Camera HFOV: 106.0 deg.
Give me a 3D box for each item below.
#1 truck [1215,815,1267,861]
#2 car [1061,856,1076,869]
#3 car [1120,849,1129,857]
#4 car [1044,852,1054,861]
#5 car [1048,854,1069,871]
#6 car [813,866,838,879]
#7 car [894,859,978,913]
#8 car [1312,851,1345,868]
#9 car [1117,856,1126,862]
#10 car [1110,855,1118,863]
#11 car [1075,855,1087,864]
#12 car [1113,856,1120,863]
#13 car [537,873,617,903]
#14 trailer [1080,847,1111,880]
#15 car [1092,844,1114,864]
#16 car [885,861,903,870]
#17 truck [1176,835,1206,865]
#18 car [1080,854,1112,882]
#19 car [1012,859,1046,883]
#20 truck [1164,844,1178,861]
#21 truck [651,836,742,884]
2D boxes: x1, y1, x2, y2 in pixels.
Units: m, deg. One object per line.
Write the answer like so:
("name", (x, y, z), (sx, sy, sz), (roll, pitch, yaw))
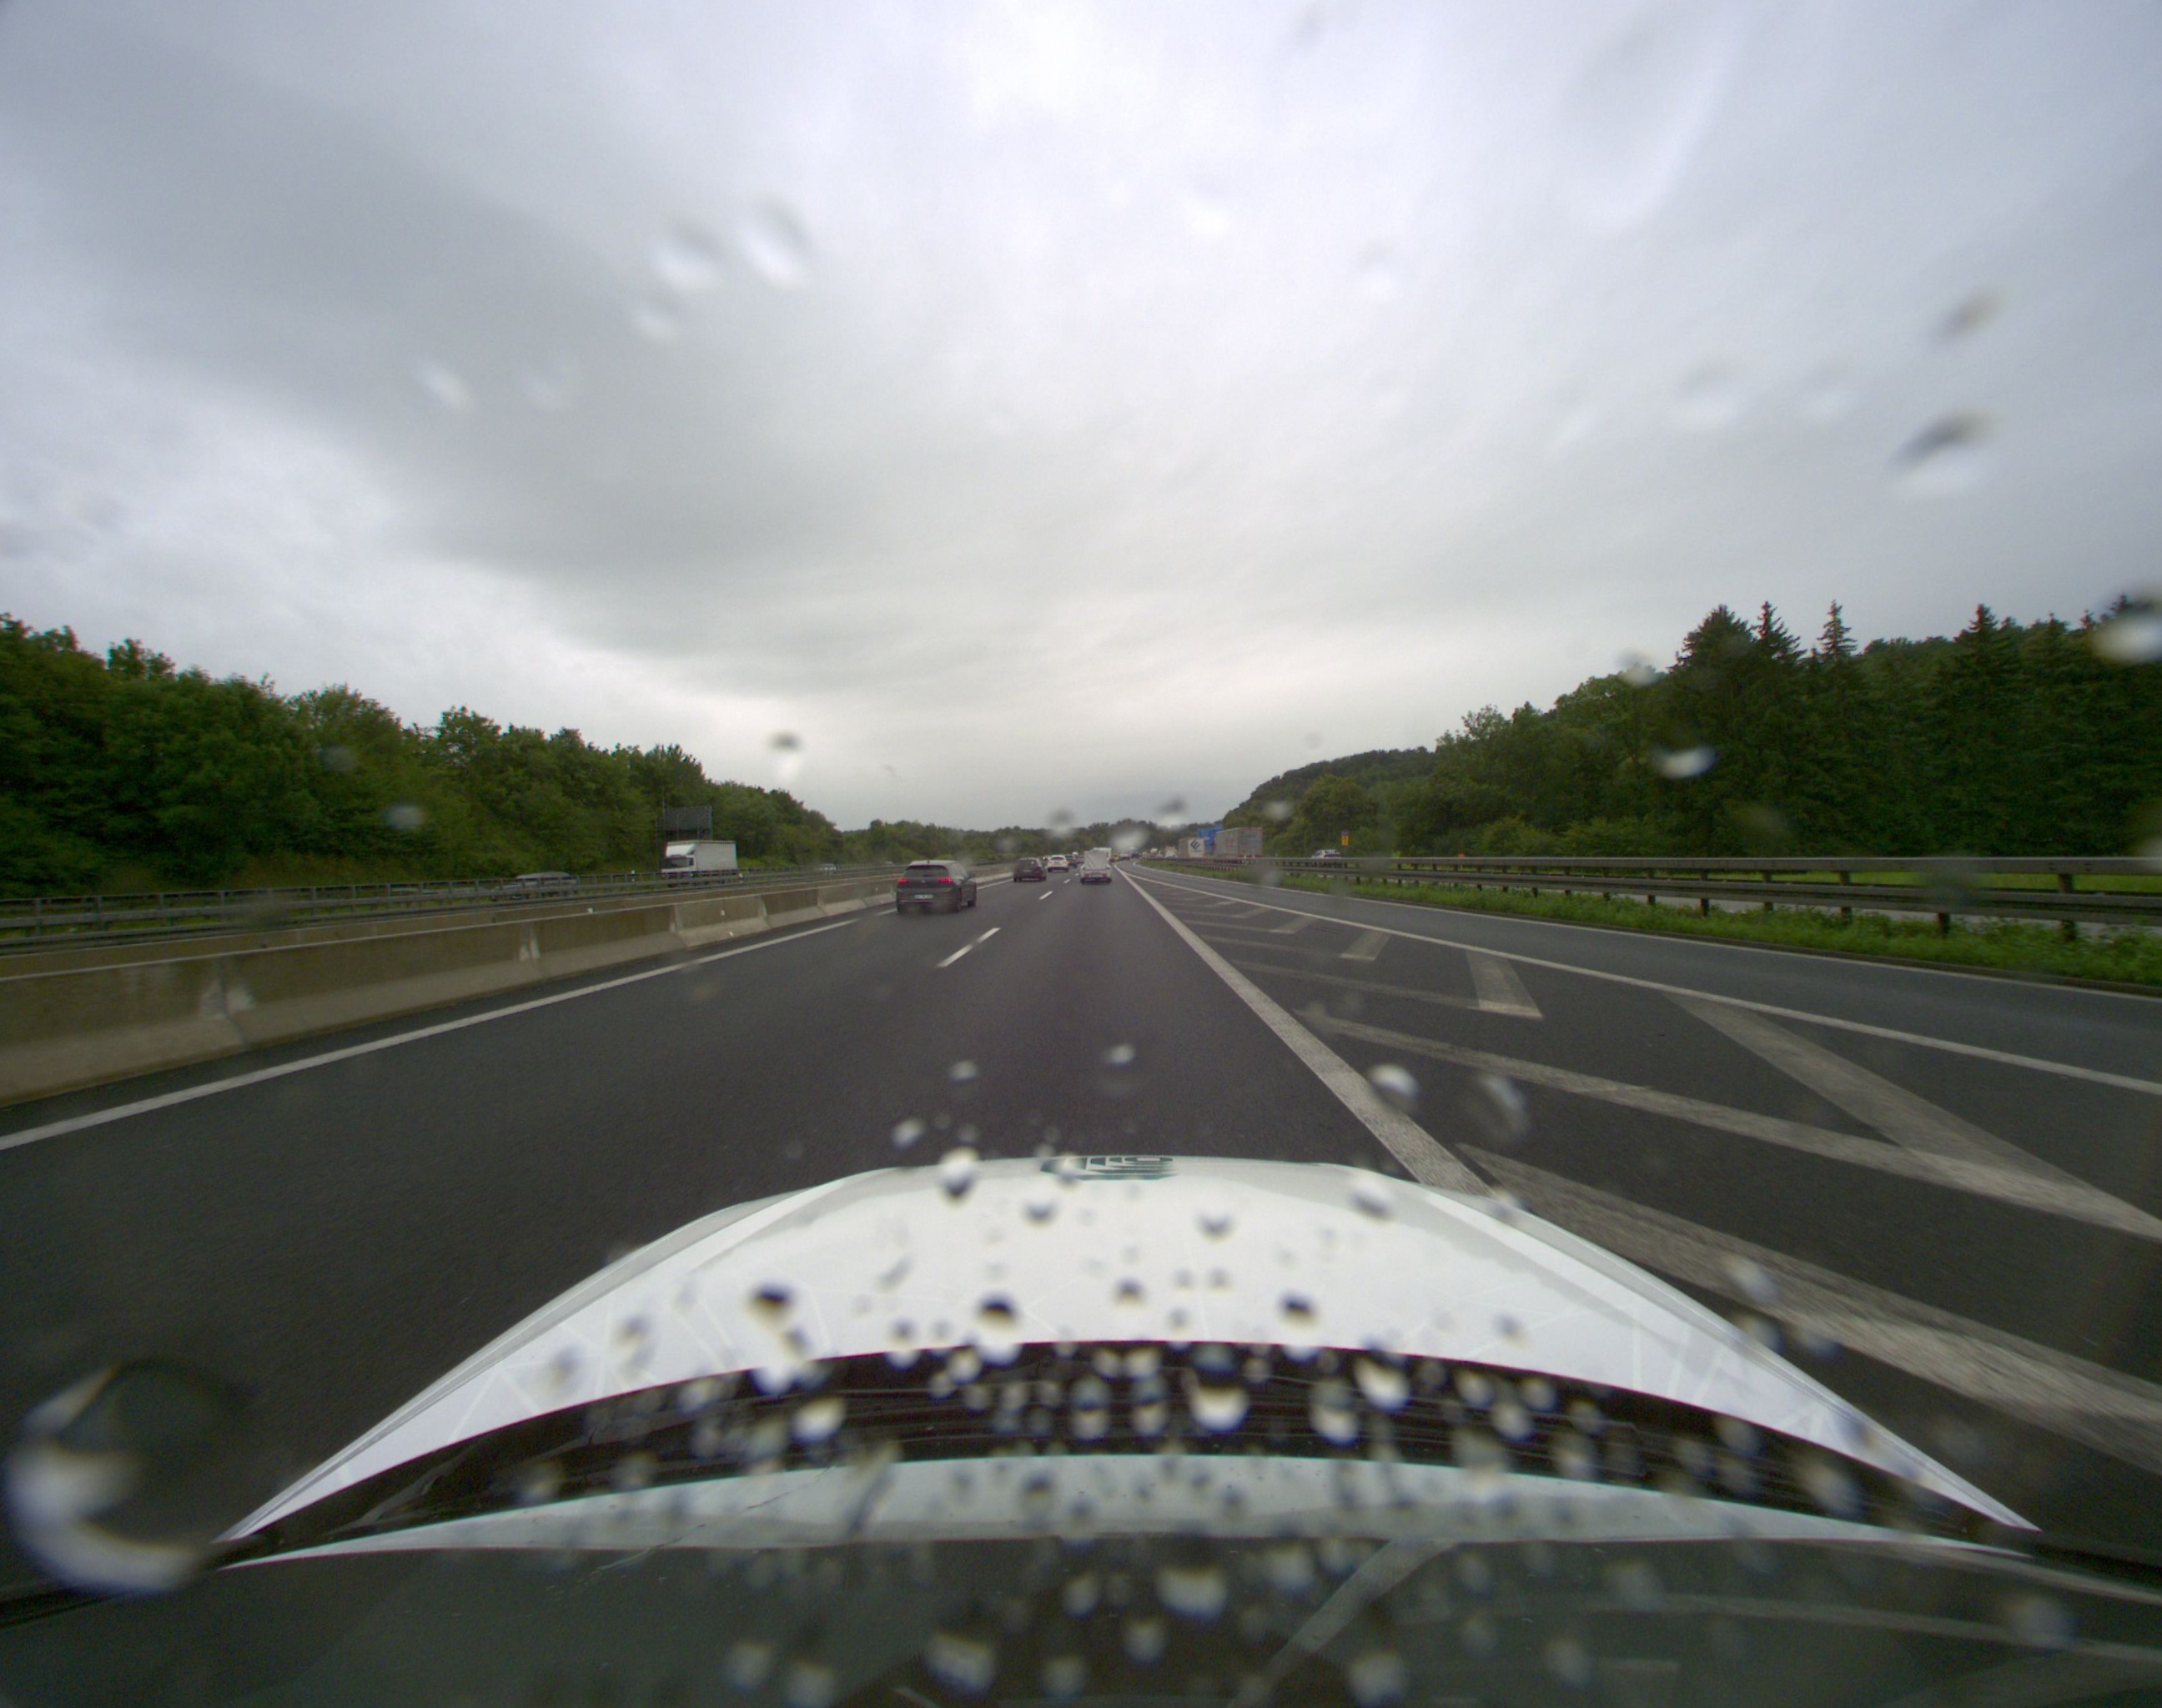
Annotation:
("truck", (17.364, -1.597, 89.266), (3.205, 4.666, 13.031), (0, -1, 0))
("car", (-1.597, 1.058, 106.518), (1.769, 1.640, 4.044), (0, -1, 1))
("car", (13.654, -0.365, 255.447), (2.505, 2.575, 5.317), (0, -1, 4))
("car", (-7.932, 0.646, 200.992), (1.986, 2.014, 4.984), (0, -1, 1))
("car", (-2.163, 0.839, 79.400), (1.769, 1.640, 4.044), (0, -1, 1))
("car", (-32.042, 2.299, 102.253), (1.669, 1.456, 4.001), (0, -1, 1))
("car", (-4.166, 0.888, 23.992), (1.669, 1.456, 4.001), (0, -1, 1))
("car", (21.423, 0.470, 70.520), (1.670, 1.456, 4.000), (0, -1, 0))
("car", (11.522, 1.391, 232.118), (2.026, 1.683, 4.008), (0, -1, 7))
("car", (7.762, 1.185, 190.700), (1.668, 1.812, 4.004), (0, -1, 4))
("car", (-0.001, 1.036, 154.885), (1.767, 1.640, 4.049), (0, -1, 5))
("car", (9.577, 1.389, 219.494), (1.668, 1.812, 4.004), (0, -1, 4))
("car", (-26.685, 1.773, 43.266), (1.669, 1.456, 4.001), (0, -1, 1))
("trailer", (0.848, 0.526, 45.907), (1.669, 1.812, 4.002), (0, -1, 2))
("car", (2.895, 0.008, 105.950), (2.496, 2.585, 5.705), (0, -1, 4))
("car", (-28.412, 1.743, 123.919), (1.670, 1.456, 4.633), (0, -1, 0))
("truck", (17.666, -0.598, 131.930), (3.204, 4.666, 13.033), (0, -1, 1))
("car", (0.955, 0.832, 49.539), (1.811, 1.616, 4.781), (0, -1, 3))
("car", (-3.230, 1.044, 51.137), (1.759, 1.456, 4.001), (0, -1, 1))
("truck", (25.592, -0.241, 231.230), (3.644, 4.666, 13.056), (0, -1, 7))
("truck", (-33.507, 0.554, 71.525), (3.062, 3.879, 9.638), (0, -1, 2))
